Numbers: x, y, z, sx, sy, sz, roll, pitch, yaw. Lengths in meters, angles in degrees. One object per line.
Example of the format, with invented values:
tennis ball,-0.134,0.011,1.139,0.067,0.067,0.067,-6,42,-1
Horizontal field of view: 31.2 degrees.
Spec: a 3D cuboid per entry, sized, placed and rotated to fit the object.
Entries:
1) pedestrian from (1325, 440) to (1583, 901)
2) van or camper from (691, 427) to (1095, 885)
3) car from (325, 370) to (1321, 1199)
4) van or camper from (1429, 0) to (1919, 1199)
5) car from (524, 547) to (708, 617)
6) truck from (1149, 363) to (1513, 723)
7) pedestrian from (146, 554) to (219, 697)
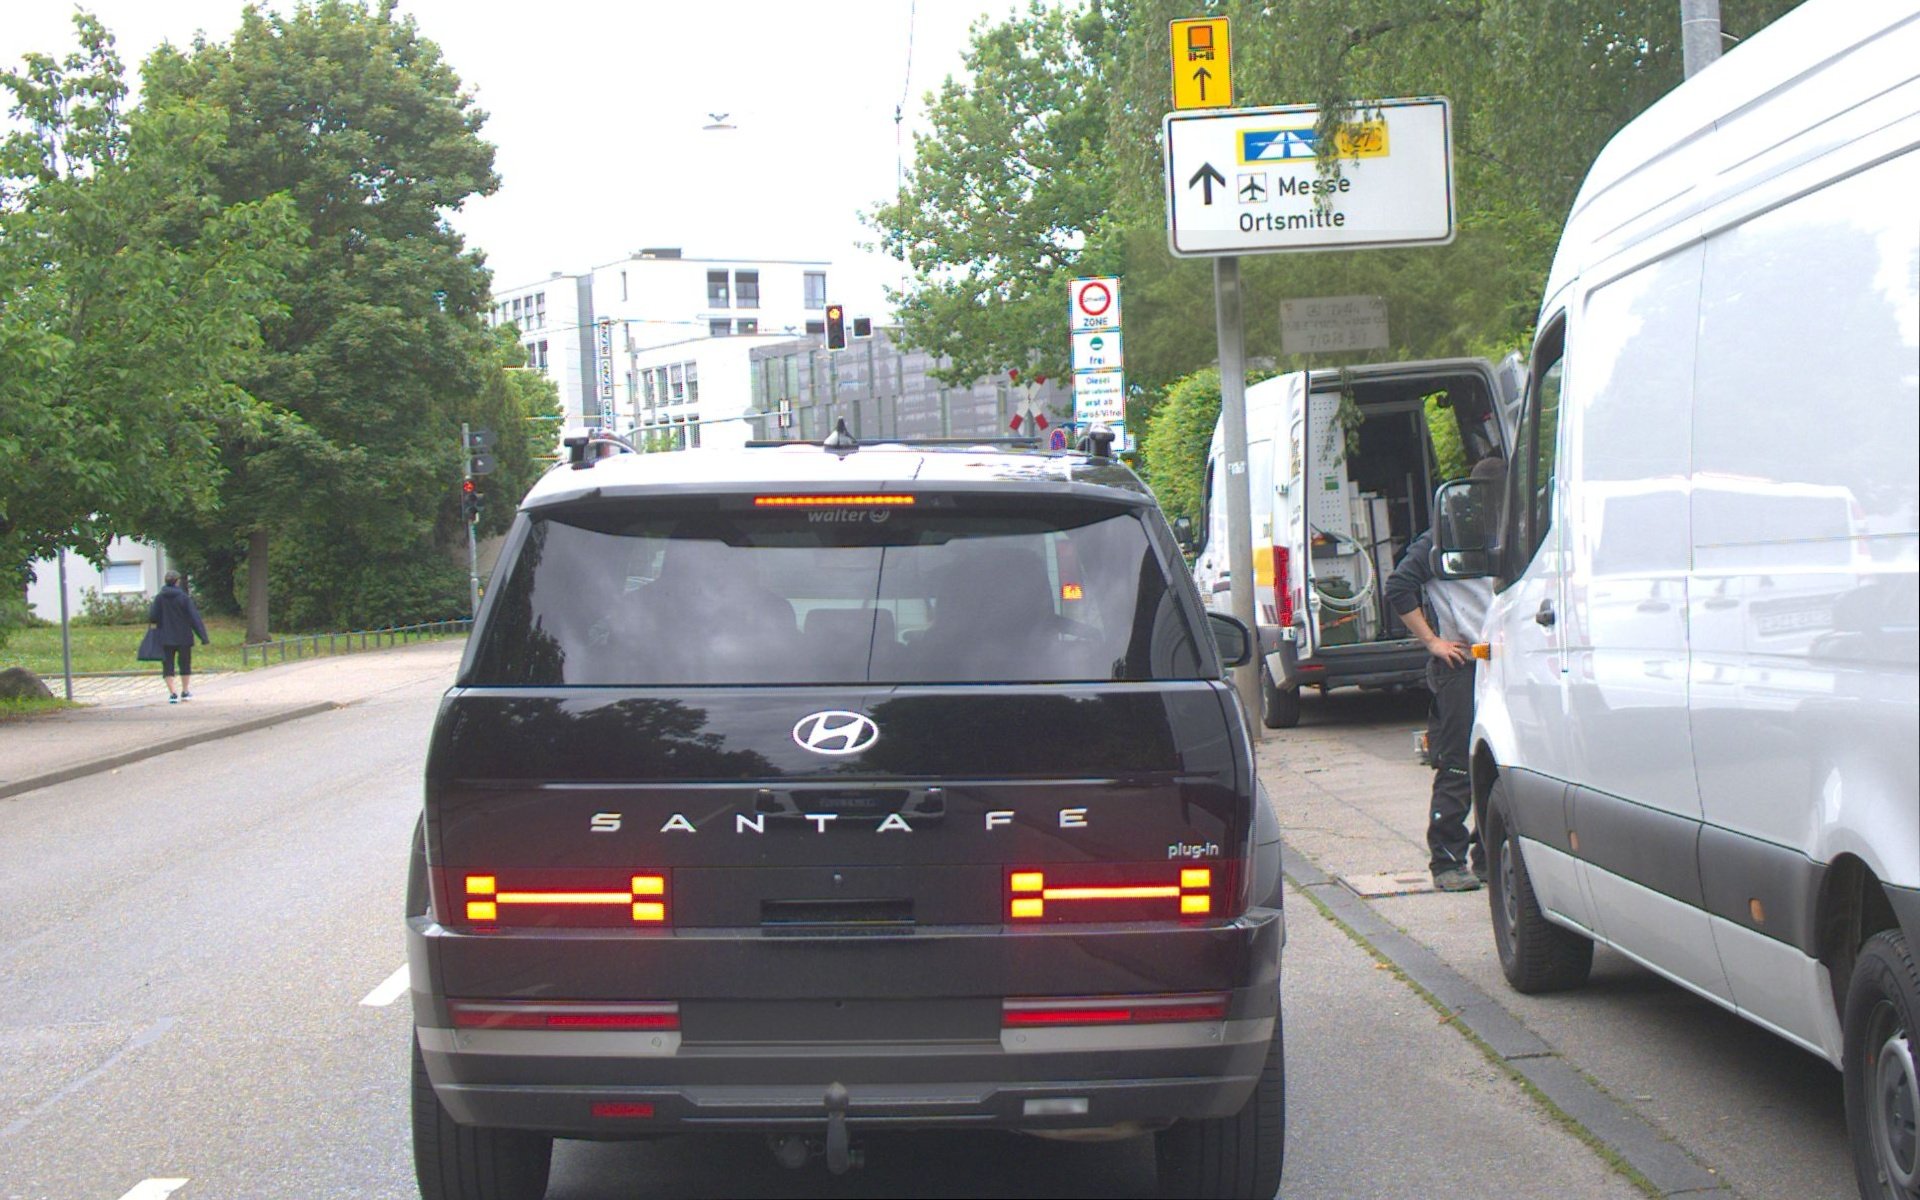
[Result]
pedestrian,1.990,0.271,13.946,0.870,1.791,0.760,-2,1,-1
van or camper,-0.323,0.220,17.497,1.754,2.007,4.000,-2,1,-1
car,-0.281,0.438,8.554,1.889,1.813,4.000,0,1,-1
van or camper,2.628,-0.085,8.141,1.993,2.611,6.541,-2,1,-1
car,-8.969,-0.466,89.493,4.704,1.742,2.000,1,0,-7
truck,2.897,-0.449,28.068,1.942,2.553,5.217,-4,1,-4
pedestrian,-9.454,0.302,41.841,0.738,1.709,0.793,-2,1,-7
